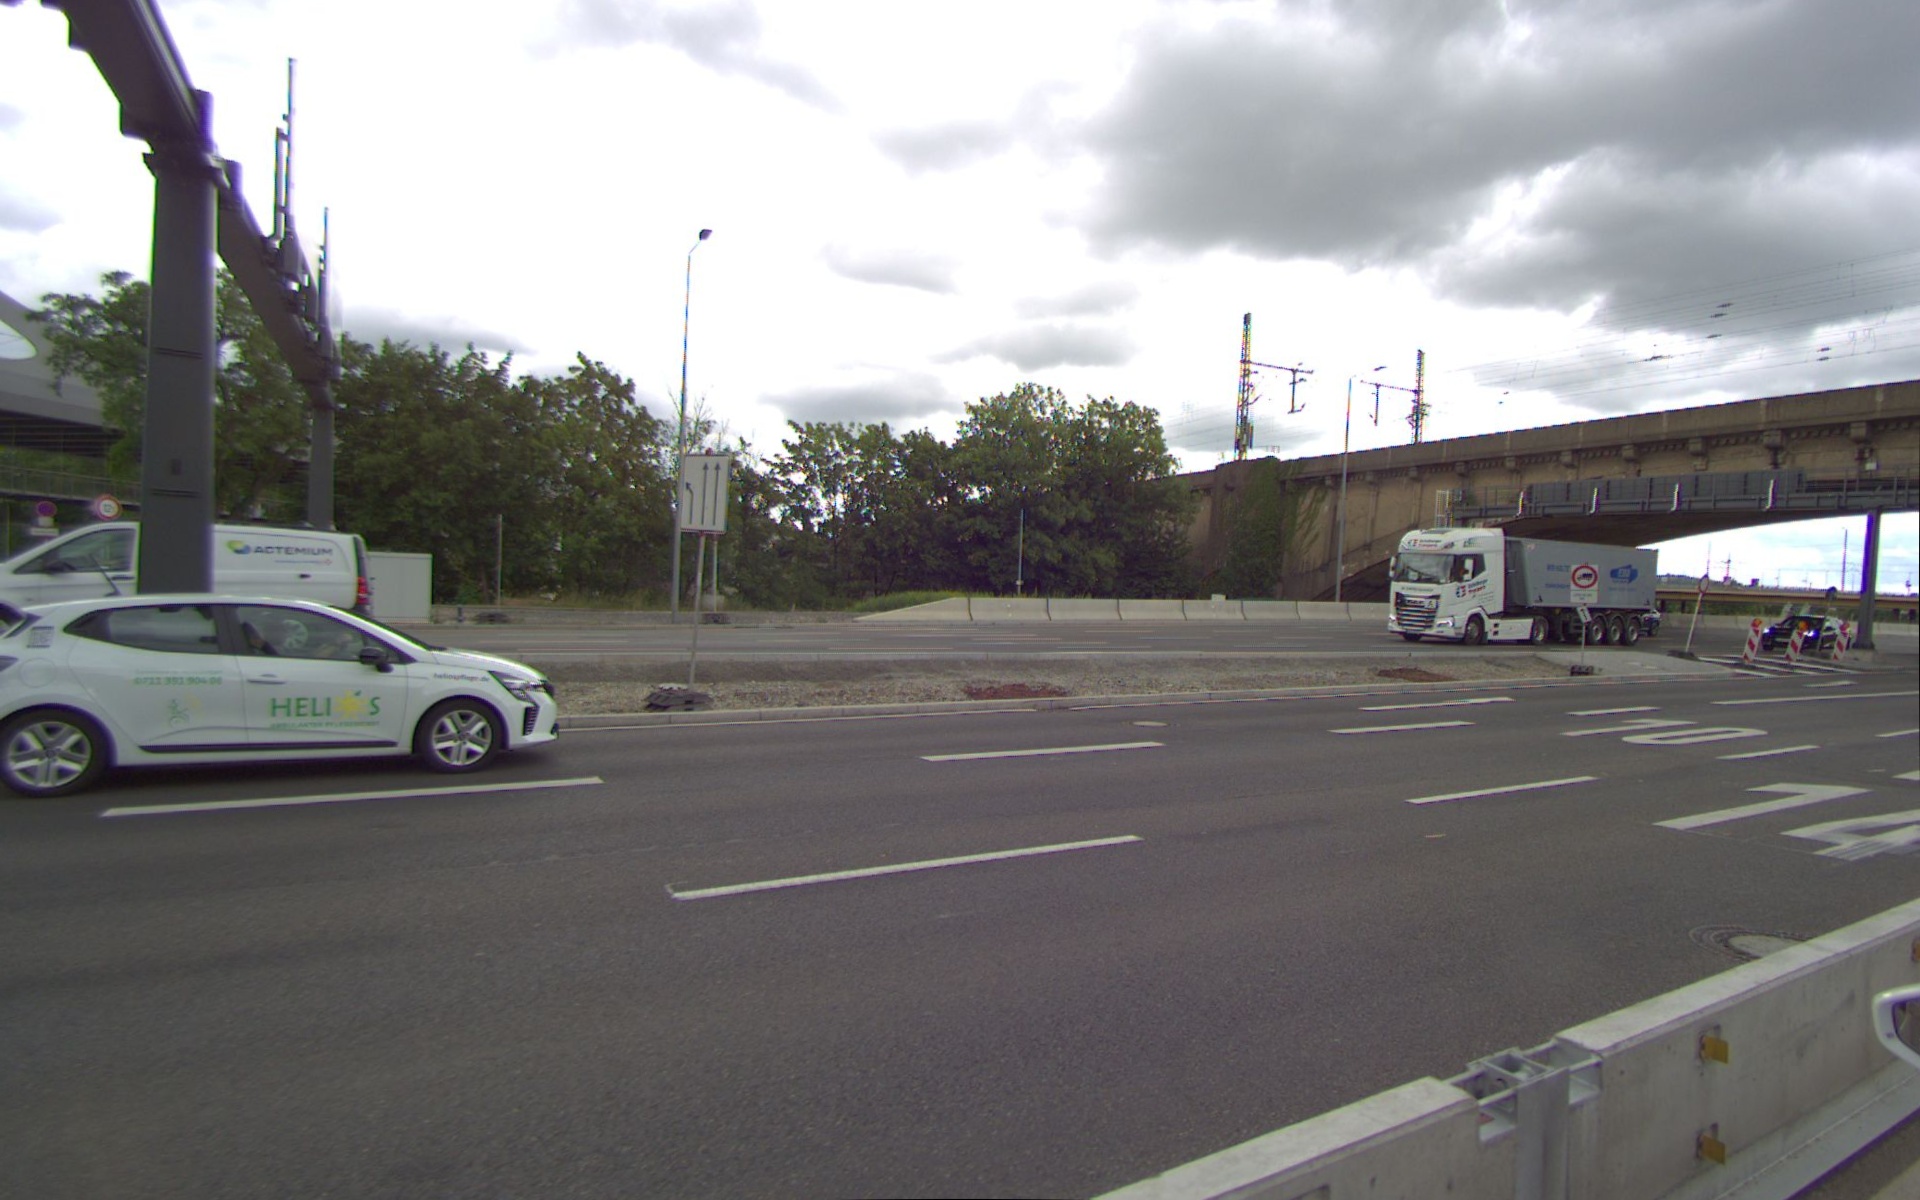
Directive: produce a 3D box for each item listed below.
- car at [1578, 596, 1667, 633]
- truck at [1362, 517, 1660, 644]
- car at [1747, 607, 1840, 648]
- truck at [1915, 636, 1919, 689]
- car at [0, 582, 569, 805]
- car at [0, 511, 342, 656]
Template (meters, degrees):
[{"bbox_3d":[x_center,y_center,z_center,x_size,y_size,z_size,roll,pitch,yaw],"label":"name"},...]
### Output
[{"bbox_3d":[32.268,0.724,48.876,4.436,1.706,1.876,1,-1,-31],"label":"car"},{"bbox_3d":[20.800,-0.576,37.333,13.823,4.116,2.885,1,2,-30],"label":"truck"},{"bbox_3d":[34.378,1.149,41.401,4.403,1.642,1.696,2,-2,-33],"label":"car"},{"bbox_3d":[21.311,-0.215,18.519,10.093,4.070,2.900,3,2,-33],"label":"truck"},{"bbox_3d":[-5.447,0.648,8.297,3.949,1.504,1.568,1,0,-30],"label":"car"},{"bbox_3d":[-11.082,-0.214,14.345,3.756,1.831,1.817,1,2,-30],"label":"car"}]
